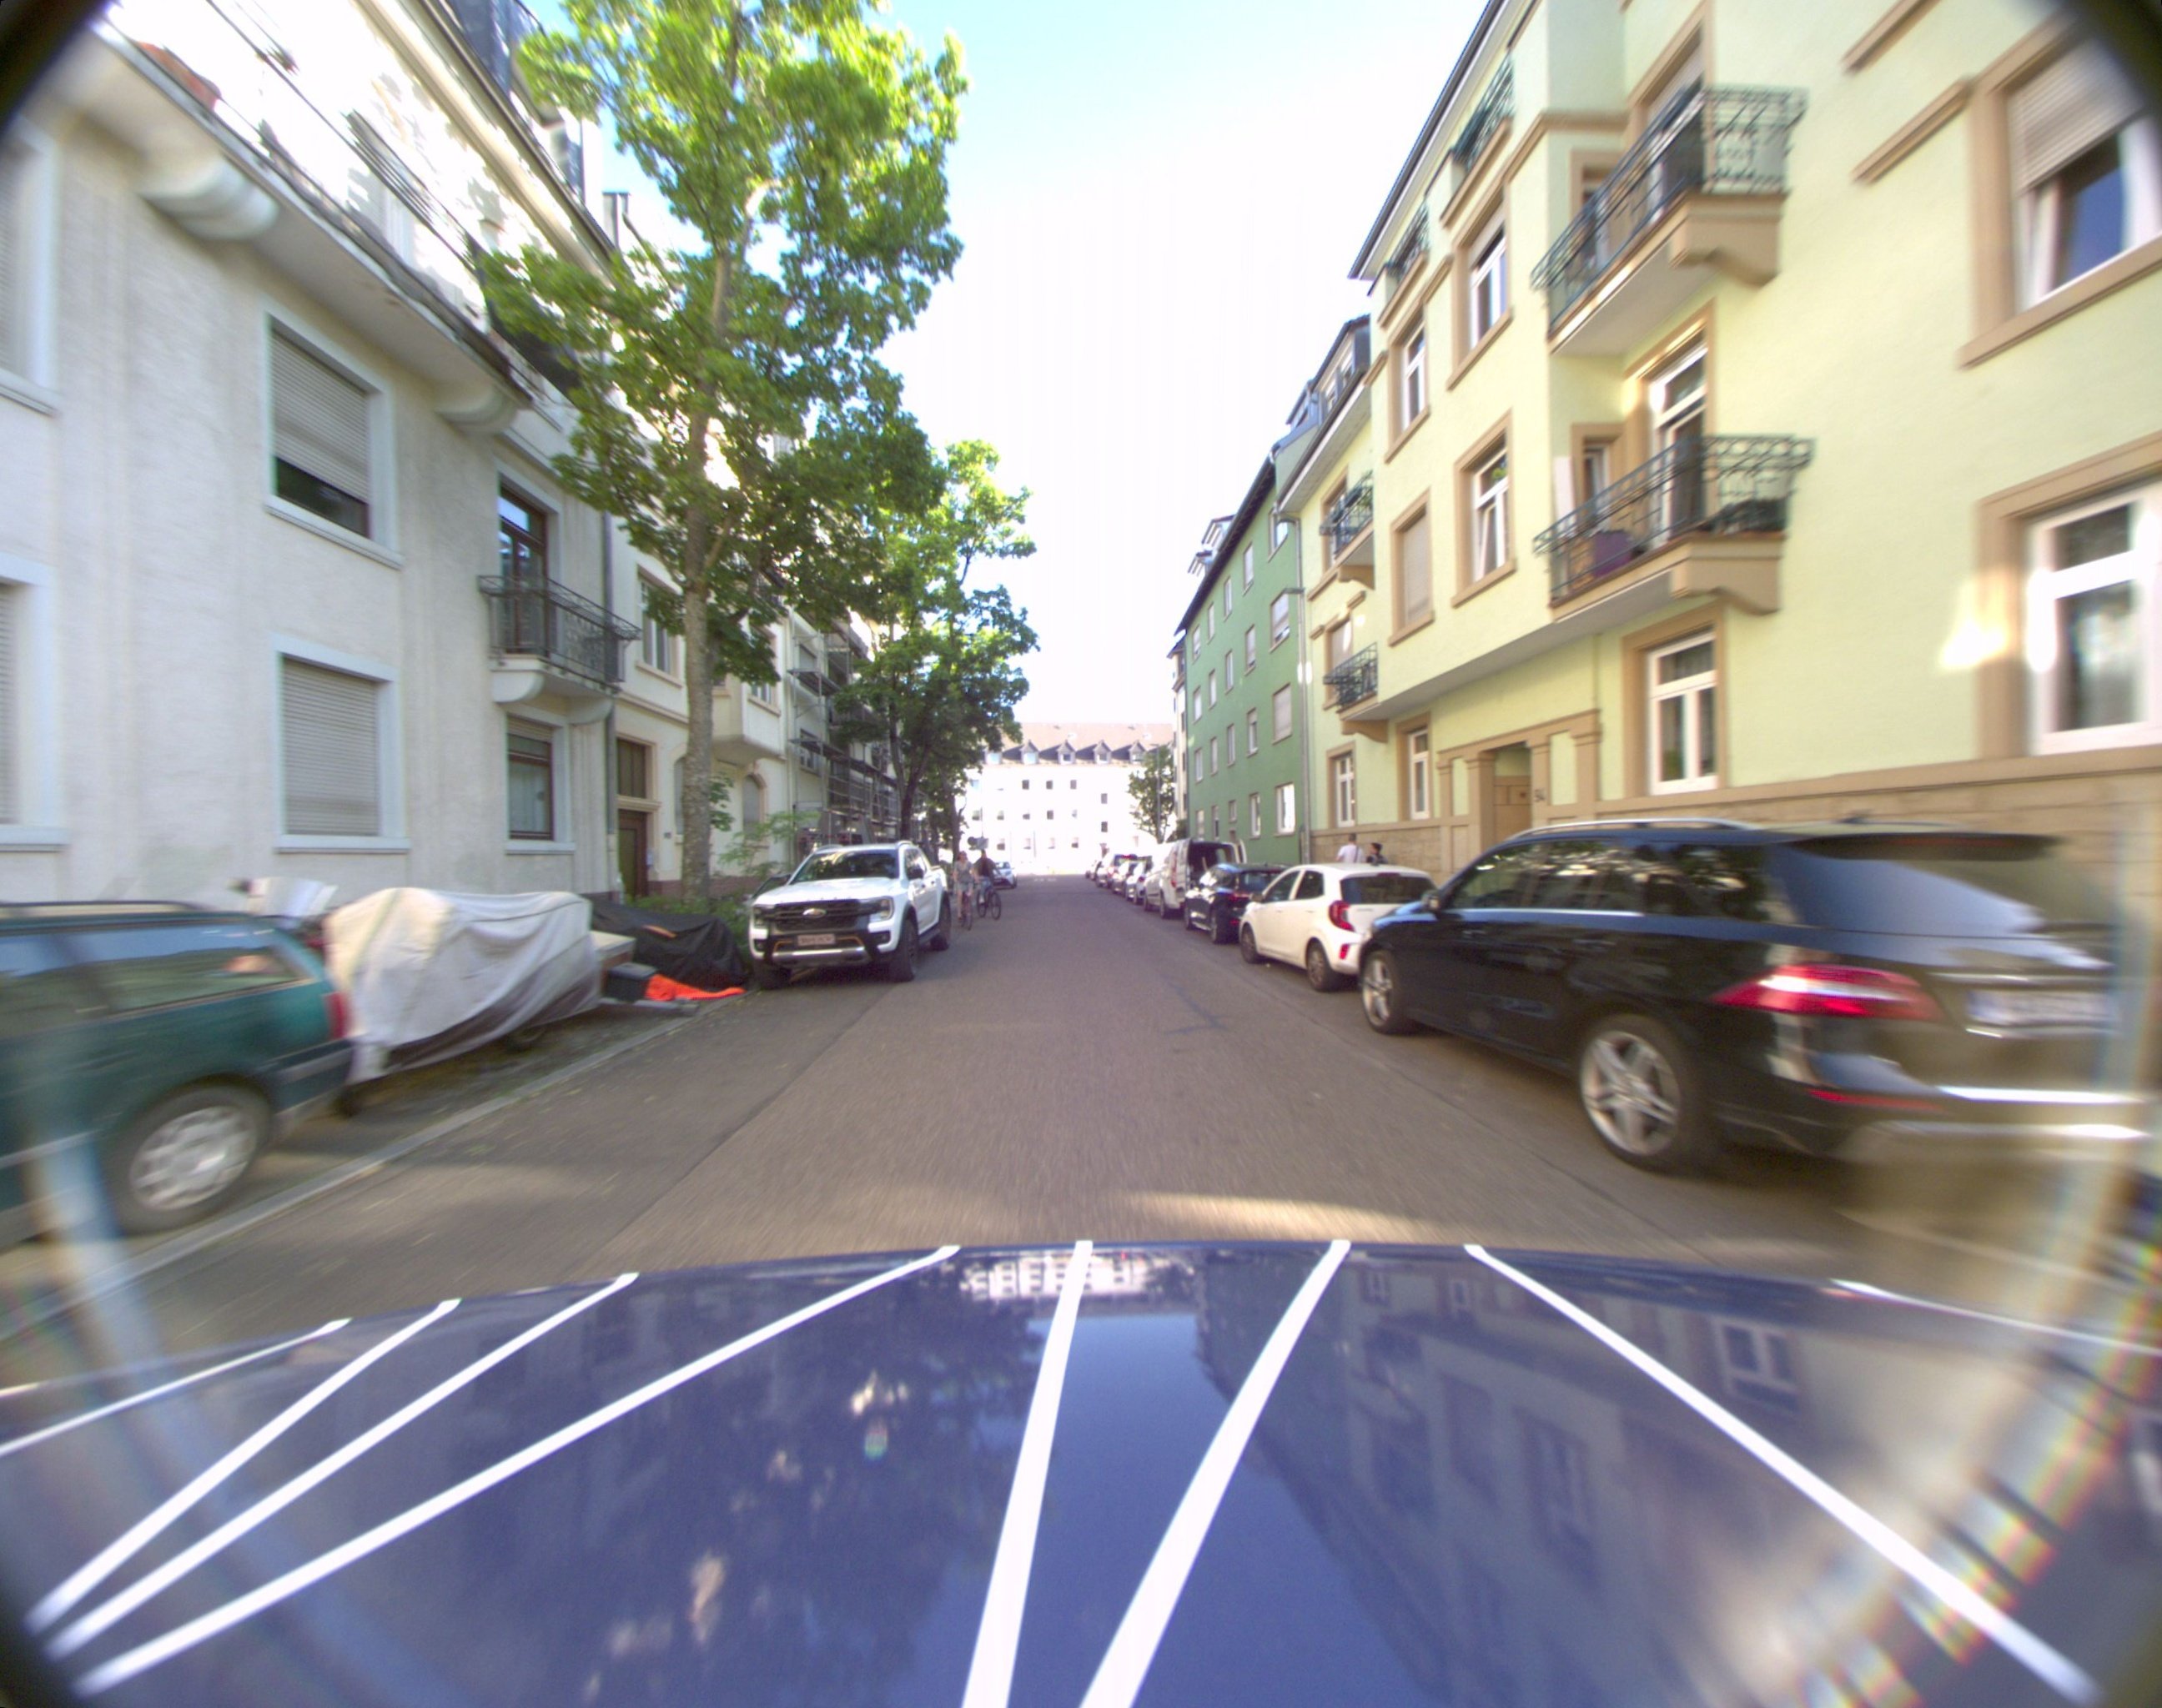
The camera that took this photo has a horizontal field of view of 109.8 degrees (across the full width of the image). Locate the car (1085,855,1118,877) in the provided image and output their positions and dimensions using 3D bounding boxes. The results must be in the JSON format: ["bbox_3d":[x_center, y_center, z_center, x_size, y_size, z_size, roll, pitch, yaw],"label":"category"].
[{"bbox_3d":[1.459,0.856,55.888,1.724,1.546,4.070,1,0,-8],"label":"car"}]

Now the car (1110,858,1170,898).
[{"bbox_3d":[2.357,0.930,31.604,1.725,1.454,4.504,1,0,-5],"label":"car"}]

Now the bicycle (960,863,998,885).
[{"bbox_3d":[-5.793,1.142,43.194,1.974,1.148,0.750,2,0,-17],"label":"bicycle"}]

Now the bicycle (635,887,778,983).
[{"bbox_3d":[-5.464,1.170,11.165,1.764,1.297,0.586,-1,1,-4],"label":"bicycle"}]

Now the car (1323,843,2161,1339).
[{"bbox_3d":[3.467,0.816,5.089,1.880,1.675,4.968,1,0,-3],"label":"car"}]

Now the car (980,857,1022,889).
[{"bbox_3d":[-4.201,0.972,40.387,1.807,1.526,3.963,-2,0,-1],"label":"car"}]

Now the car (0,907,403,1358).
[{"bbox_3d":[-4.803,1.082,2.029,1.755,1.520,4.780,0,0,-1],"label":"car"}]

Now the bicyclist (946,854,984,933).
[{"bbox_3d":[-2.625,0.865,17.219,0.717,1.679,0.980,-4,1,-8],"label":"bicyclist"}]

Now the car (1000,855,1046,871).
[{"bbox_3d":[-5.824,0.920,76.382,4.494,1.498,1.944,-1,0,-8],"label":"car"}]

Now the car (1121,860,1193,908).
[{"bbox_3d":[2.562,0.970,26.585,1.838,1.454,4.361,1,0,-3],"label":"car"}]

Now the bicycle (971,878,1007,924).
[{"bbox_3d":[-2.428,1.236,20.280,0.741,1.054,1.857,-2,1,-2],"label":"bicycle"}]

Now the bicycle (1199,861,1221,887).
[{"bbox_3d":[5.719,0.871,33.805,0.488,1.069,1.969,-5,1,-2],"label":"bicycle"}]

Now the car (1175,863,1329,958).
[{"bbox_3d":[3.120,0.953,14.909,1.771,1.512,4.824,0,0,-2],"label":"car"}]

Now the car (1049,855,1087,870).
[{"bbox_3d":[-1.310,0.833,77.165,3.614,1.440,1.552,-1,1,-10],"label":"car"}]

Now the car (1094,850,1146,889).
[{"bbox_3d":[1.934,0.750,38.988,1.777,1.832,4.411,1,1,-9],"label":"car"}]

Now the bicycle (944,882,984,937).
[{"bbox_3d":[-2.610,1.216,17.155,0.708,1.039,1.857,-4,1,-6],"label":"bicycle"}]

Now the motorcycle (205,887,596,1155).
[{"bbox_3d":[-4.743,1.046,5.607,0.932,1.477,2.138,-2,0,-1],"label":"motorcycle"}]

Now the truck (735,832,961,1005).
[{"bbox_3d":[-3.116,0.736,11.514,1.833,1.937,5.539,-2,0,-2],"label":"truck"}]

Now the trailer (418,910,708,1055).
[{"bbox_3d":[-4.969,1.195,7.520,2.088,1.106,1.114,-2,0,-16],"label":"trailer"}]

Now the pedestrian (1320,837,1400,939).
[{"bbox_3d":[5.322,0.619,14.580,0.995,1.850,1.243,-1,1,-3],"label":"pedestrian"}]

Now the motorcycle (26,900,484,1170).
[{"bbox_3d":[-5.686,1.120,5.545,0.863,1.408,2.233,-2,0,-1],"label":"motorcycle"}]

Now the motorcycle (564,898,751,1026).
[{"bbox_3d":[-4.907,1.191,8.874,1.768,1.233,0.700,-2,1,-41],"label":"motorcycle"}]

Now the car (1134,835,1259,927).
[{"bbox_3d":[2.978,0.644,20.955,2.258,2.156,5.241,1,0,-4],"label":"car"}]

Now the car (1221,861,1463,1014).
[{"bbox_3d":[3.173,0.910,10.152,1.639,1.543,4.087,0,1,-3],"label":"car"}]

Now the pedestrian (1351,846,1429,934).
[{"bbox_3d":[6.173,0.692,15.257,0.995,1.665,1.243,-1,1,-3],"label":"pedestrian"}]

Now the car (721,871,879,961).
[{"bbox_3d":[-5.346,1.105,15.102,1.685,1.414,4.429,0,0,-3],"label":"car"}]

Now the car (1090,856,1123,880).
[{"bbox_3d":[1.656,0.909,50.541,1.771,1.444,4.206,2,0,-3],"label":"car"}]

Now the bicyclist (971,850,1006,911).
[{"bbox_3d":[-2.454,0.689,20.258,0.757,1.556,0.981,-3,1,-2],"label":"bicyclist"}]

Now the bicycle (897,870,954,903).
[{"bbox_3d":[-5.508,1.153,26.906,1.924,1.115,0.749,-2,0,27],"label":"bicycle"}]
